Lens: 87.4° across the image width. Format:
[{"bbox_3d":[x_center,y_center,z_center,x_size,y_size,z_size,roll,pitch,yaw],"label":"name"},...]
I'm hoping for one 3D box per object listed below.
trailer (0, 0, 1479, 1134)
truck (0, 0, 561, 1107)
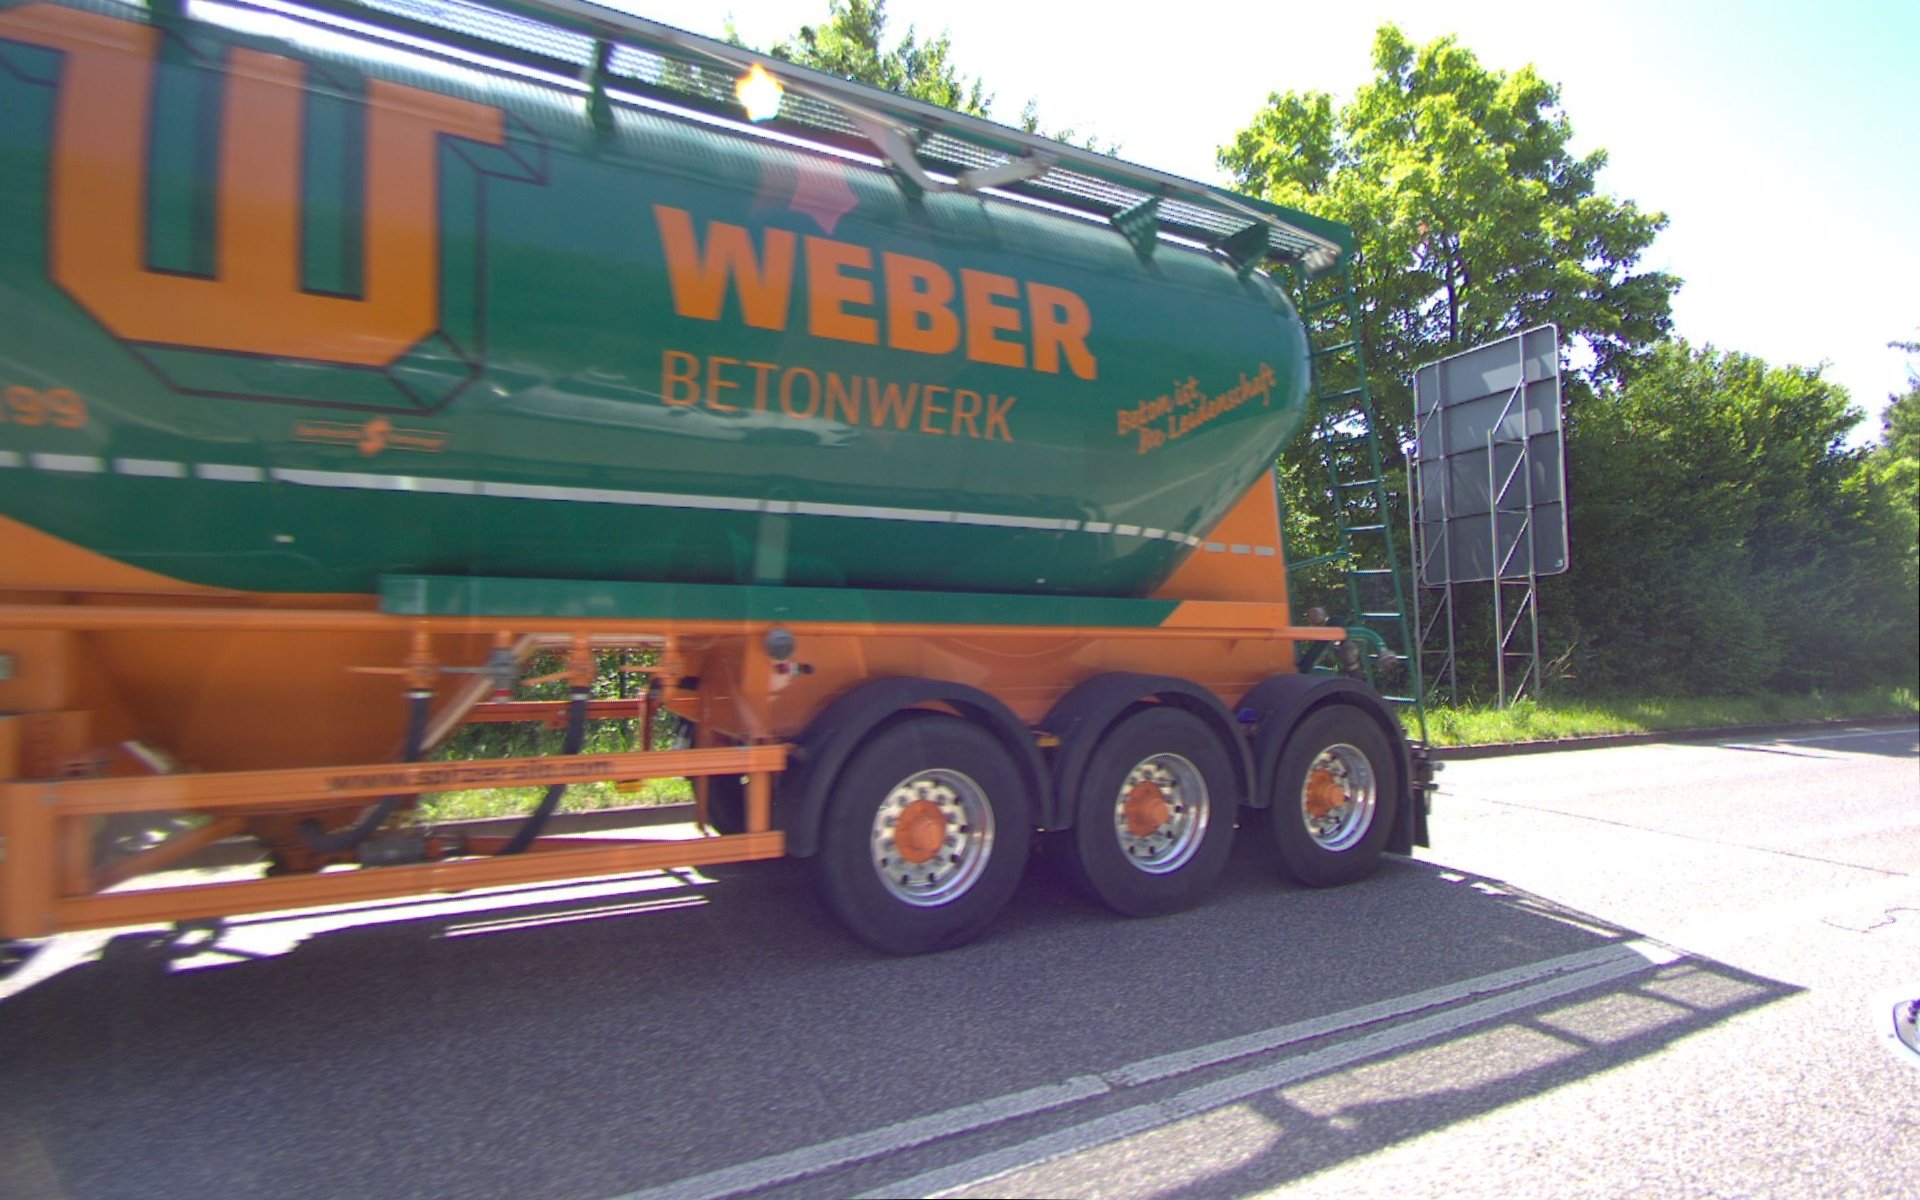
[{"bbox_3d":[-1.332,-0.364,5.097,8.805,3.870,2.567,1,0,-29],"label":"trailer"},{"bbox_3d":[-5.442,-0.474,2.766,7.781,3.729,2.567,1,0,-30],"label":"truck"}]
